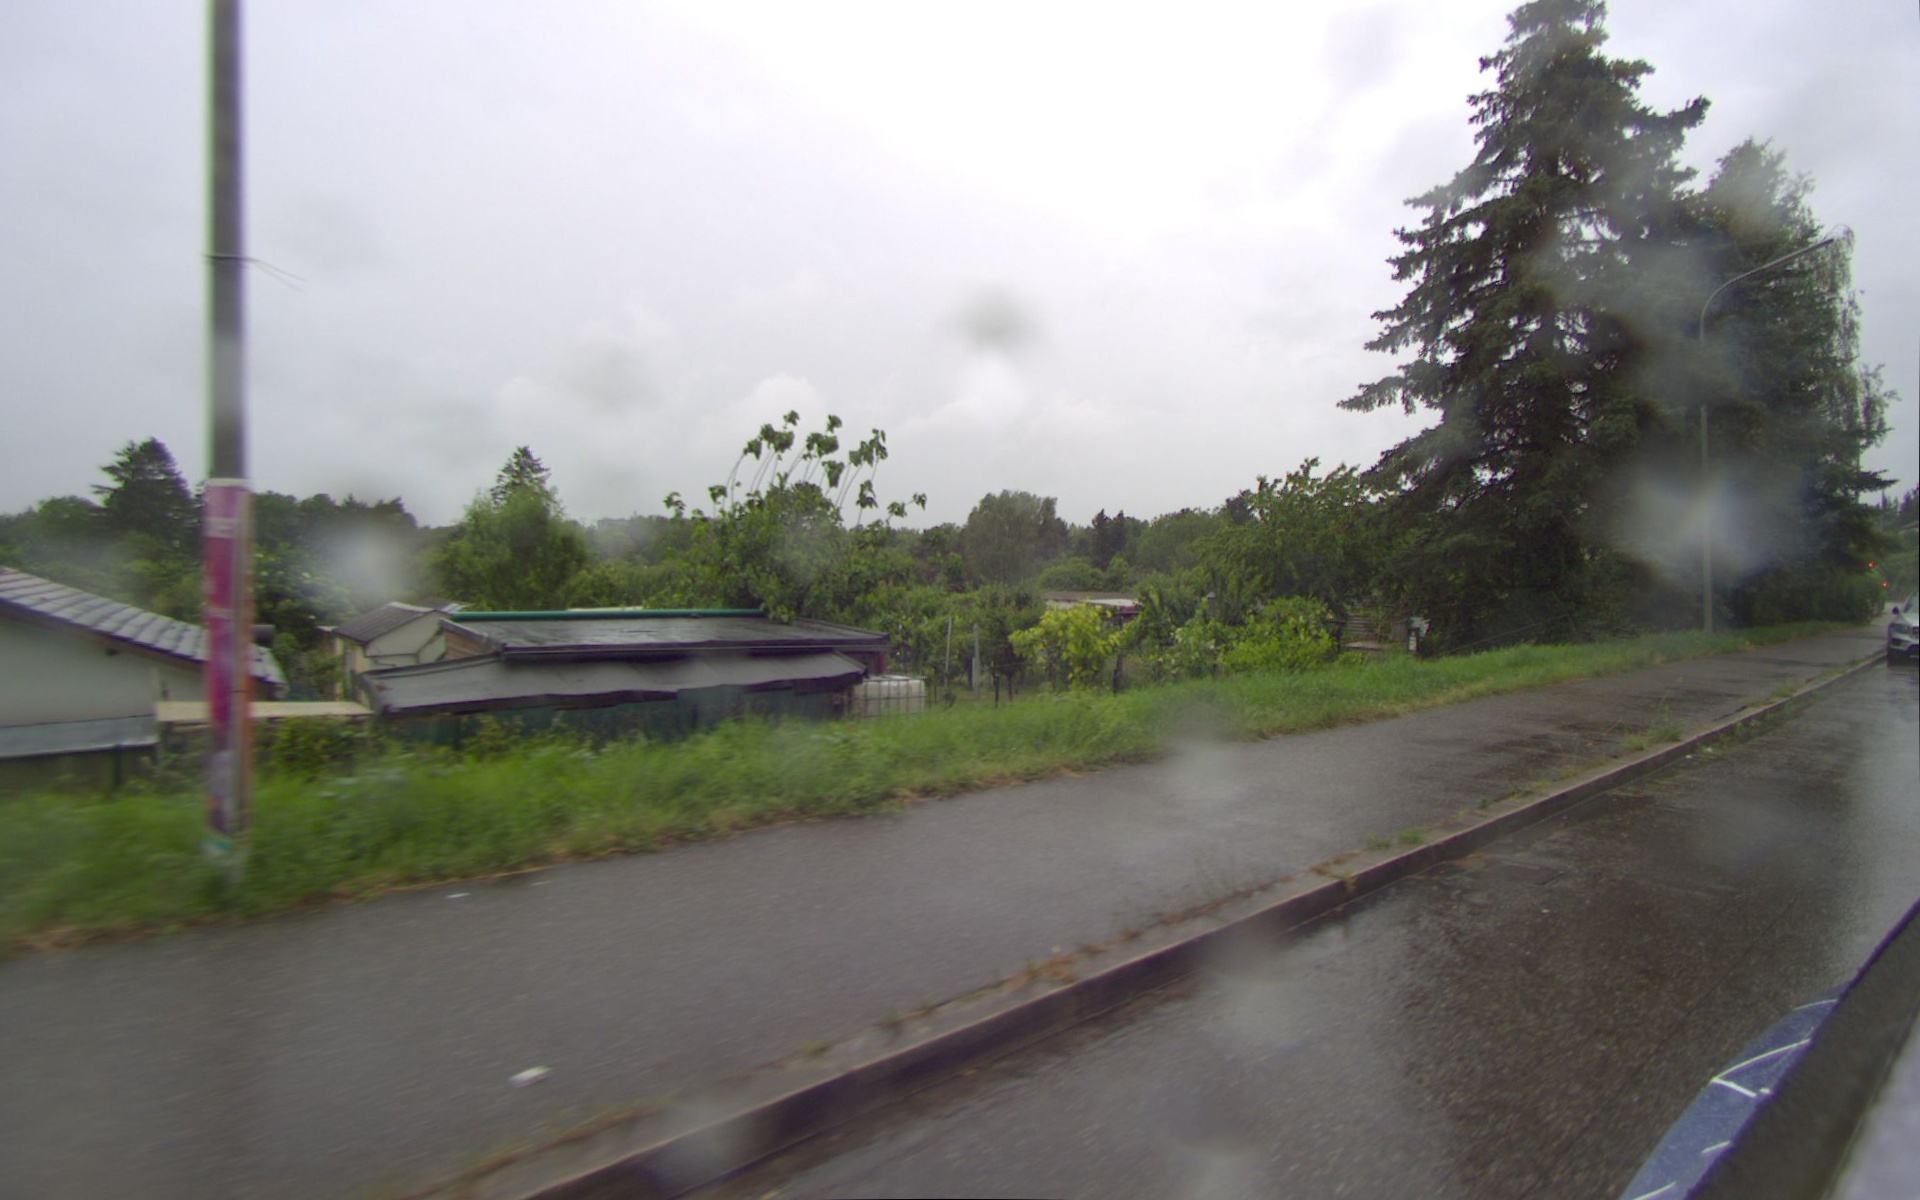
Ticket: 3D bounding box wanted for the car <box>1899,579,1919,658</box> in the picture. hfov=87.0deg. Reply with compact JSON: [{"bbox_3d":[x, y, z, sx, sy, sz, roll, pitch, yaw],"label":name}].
[{"bbox_3d":[22.344,0.395,22.535,4.322,1.666,1.817,-1,2,-44],"label":"car"}]
